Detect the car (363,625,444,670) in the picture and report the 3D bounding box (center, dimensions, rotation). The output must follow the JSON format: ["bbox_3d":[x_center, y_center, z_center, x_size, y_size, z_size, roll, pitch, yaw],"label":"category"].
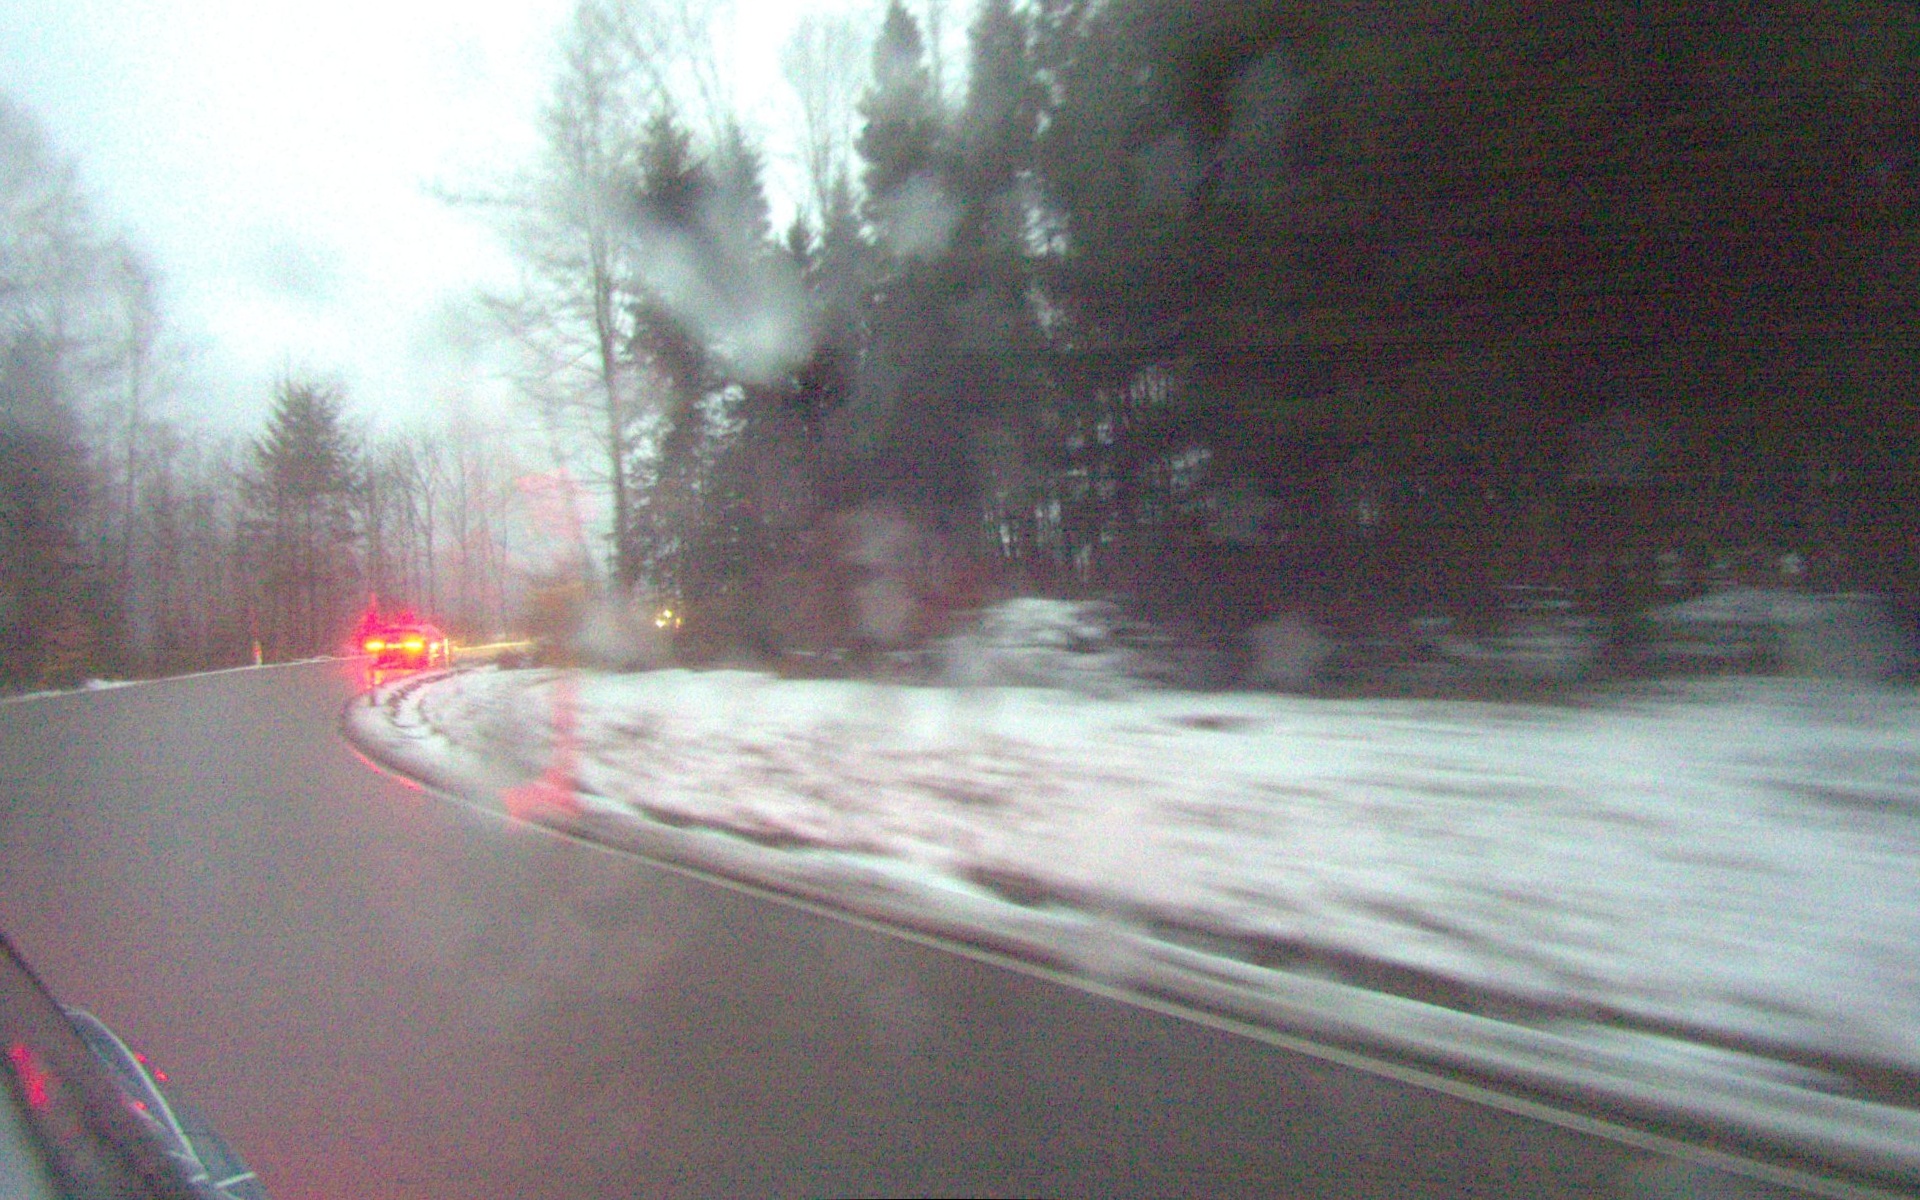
[{"bbox_3d":[-20.071,1.710,36.681,1.749,1.504,4.562,1,-2,-18],"label":"car"}]
